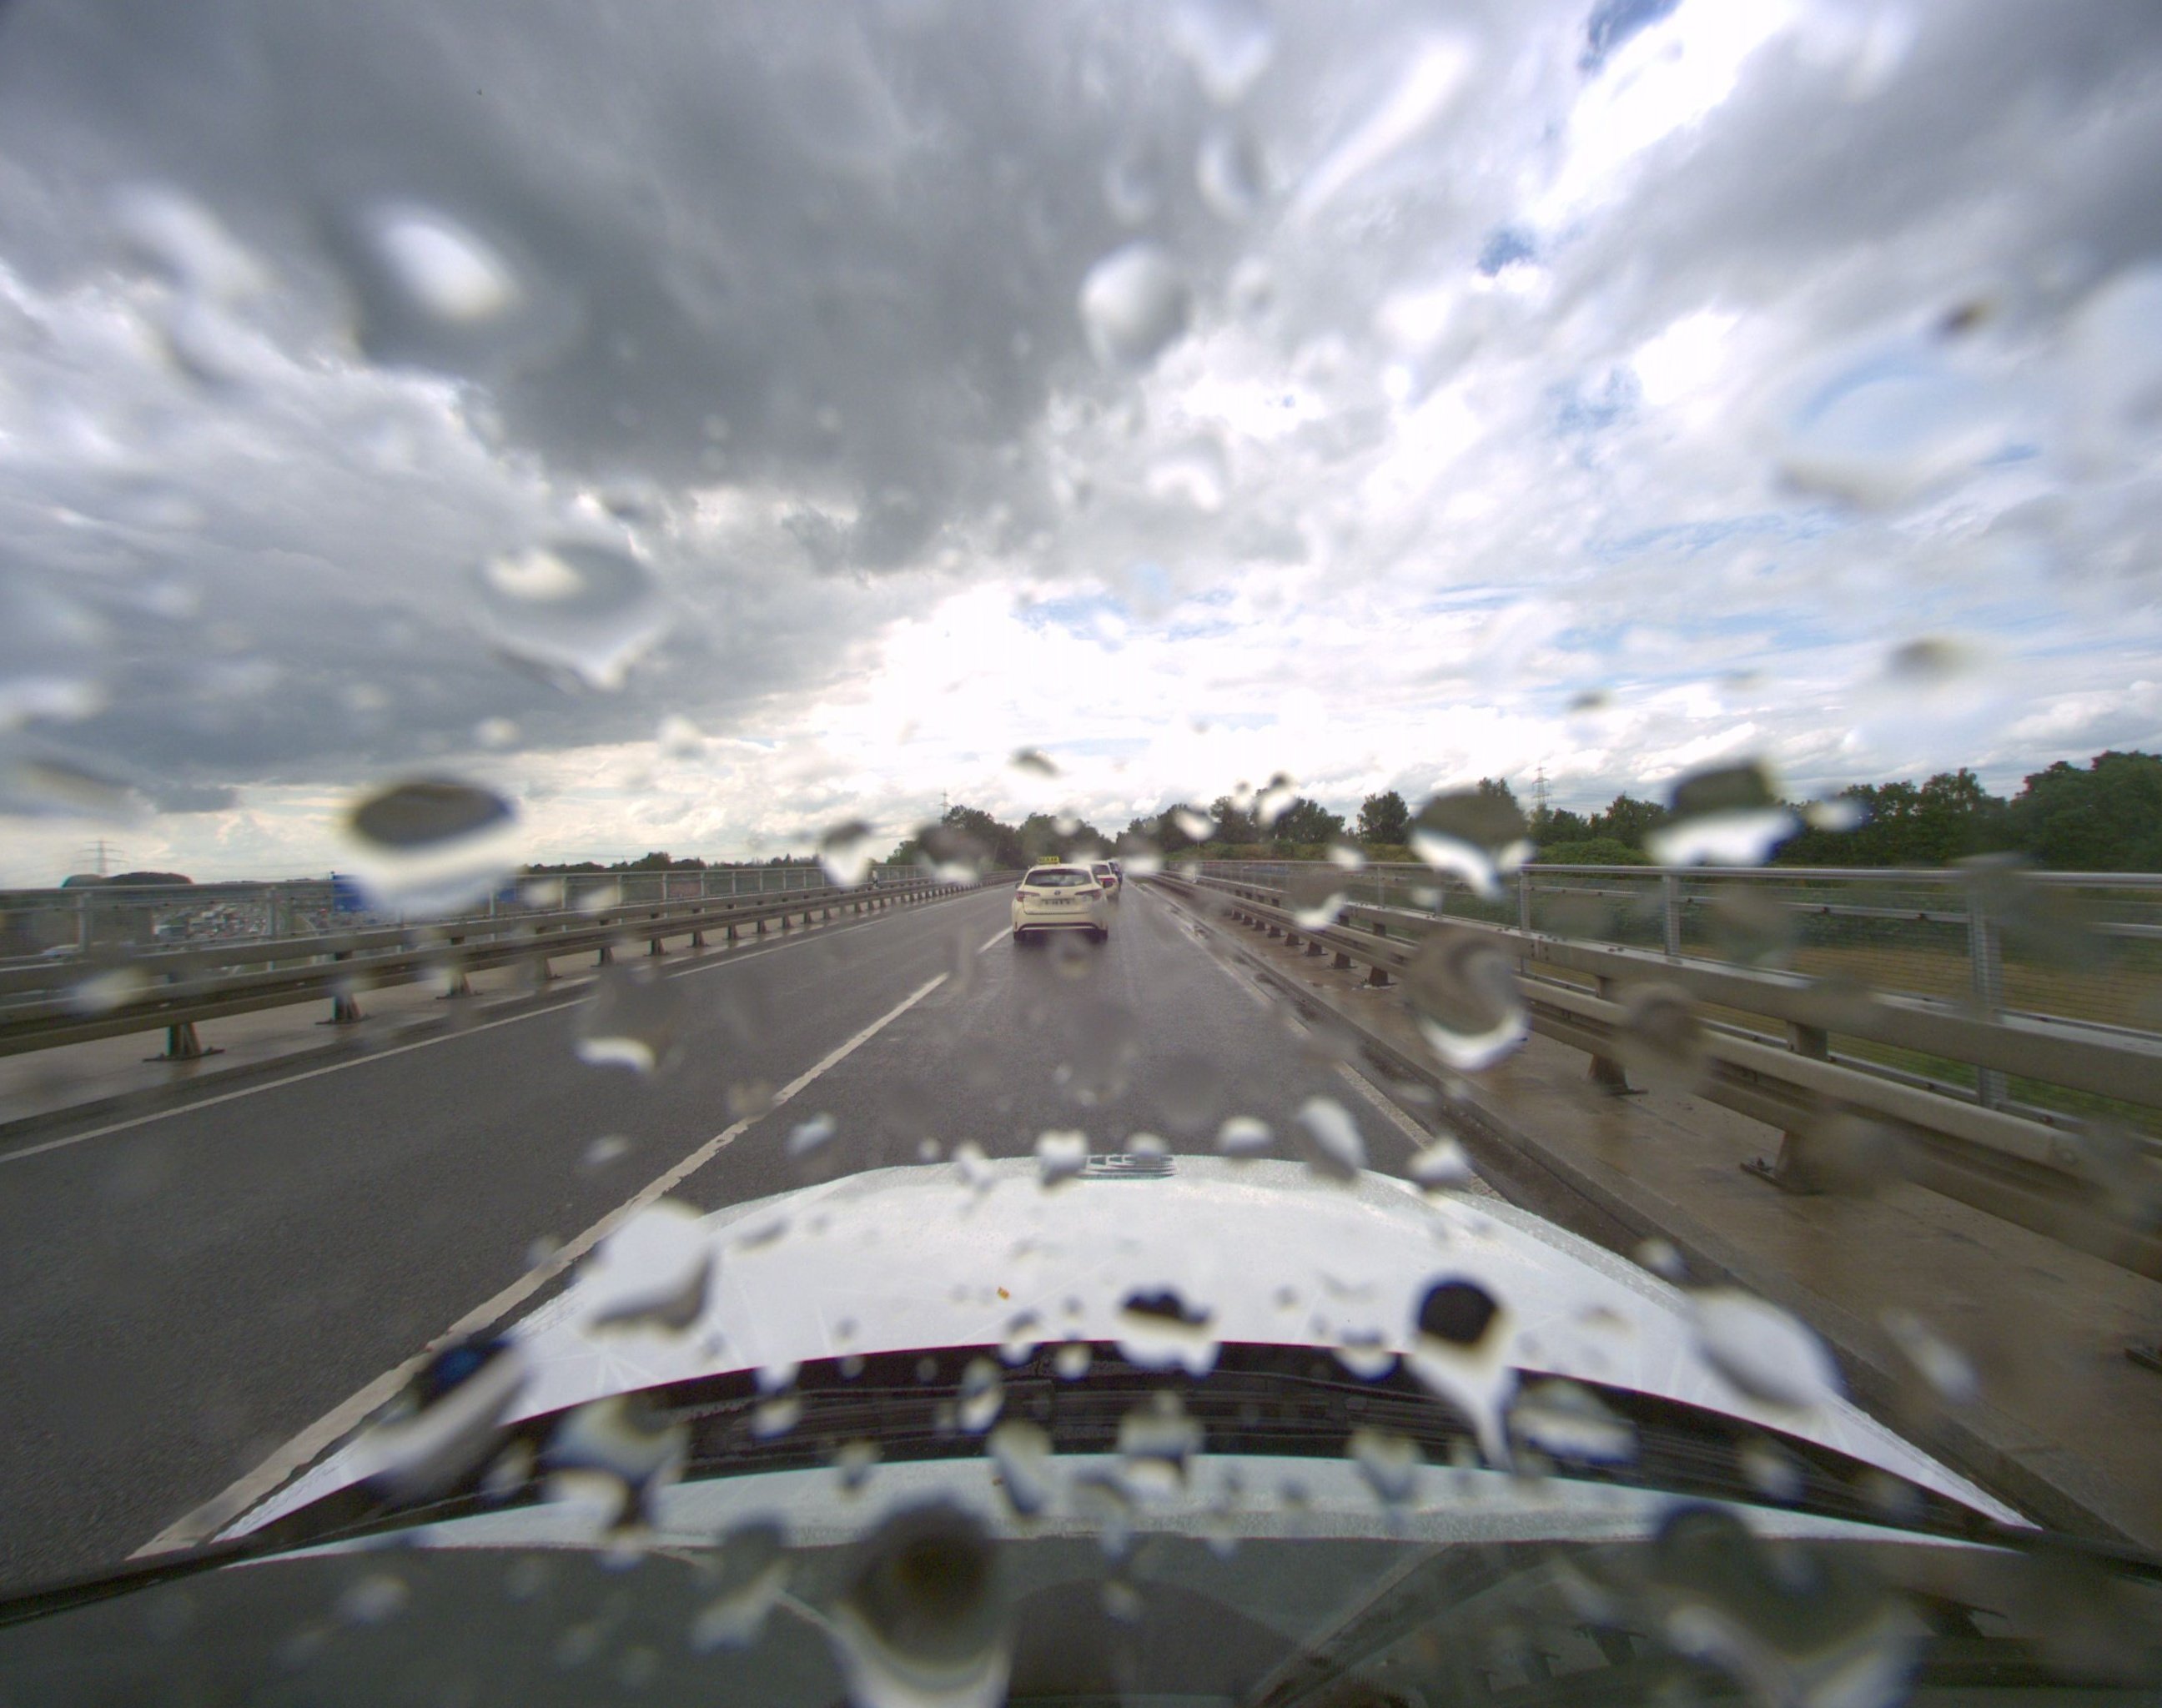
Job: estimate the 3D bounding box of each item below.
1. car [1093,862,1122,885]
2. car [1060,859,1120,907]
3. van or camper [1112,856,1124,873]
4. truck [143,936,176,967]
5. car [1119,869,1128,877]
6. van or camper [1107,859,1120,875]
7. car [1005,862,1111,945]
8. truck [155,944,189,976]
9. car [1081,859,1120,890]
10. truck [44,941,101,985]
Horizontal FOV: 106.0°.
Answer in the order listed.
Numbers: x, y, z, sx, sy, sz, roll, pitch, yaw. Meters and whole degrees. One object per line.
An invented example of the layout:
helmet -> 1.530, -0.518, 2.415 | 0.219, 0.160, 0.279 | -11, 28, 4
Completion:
car -> 1.799, 1.307, 55.108 | 1.847, 1.443, 4.172 | 0, 0, 2
car -> 0.349, 0.908, 27.384 | 1.847, 1.443, 4.172 | 0, 0, 2
van or camper -> 7.875, 2.161, 173.385 | 2.324, 3.563, 6.309 | 0, -1, 2
truck -> -154.346, 16.253, 136.537 | 2.450, 4.194, 11.035 | 0, -1, -42
car -> 10.612, 4.724, 202.847 | 1.986, 2.014, 4.001 | 0, -1, 1
van or camper -> 5.804, 2.299, 146.822 | 2.324, 2.864, 6.309 | 0, -1, 2
car -> -0.335, 0.872, 16.241 | 1.847, 1.394, 4.172 | 0, 0, 2
truck -> -141.920, 16.431, 127.189 | 2.450, 3.762, 11.035 | 0, -1, -42
car -> 1.008, 1.004, 41.178 | 1.847, 1.443, 4.172 | 0, 0, 2
truck -> -111.292, 11.921, 90.028 | 2.451, 3.762, 11.033 | 0, -1, -43
